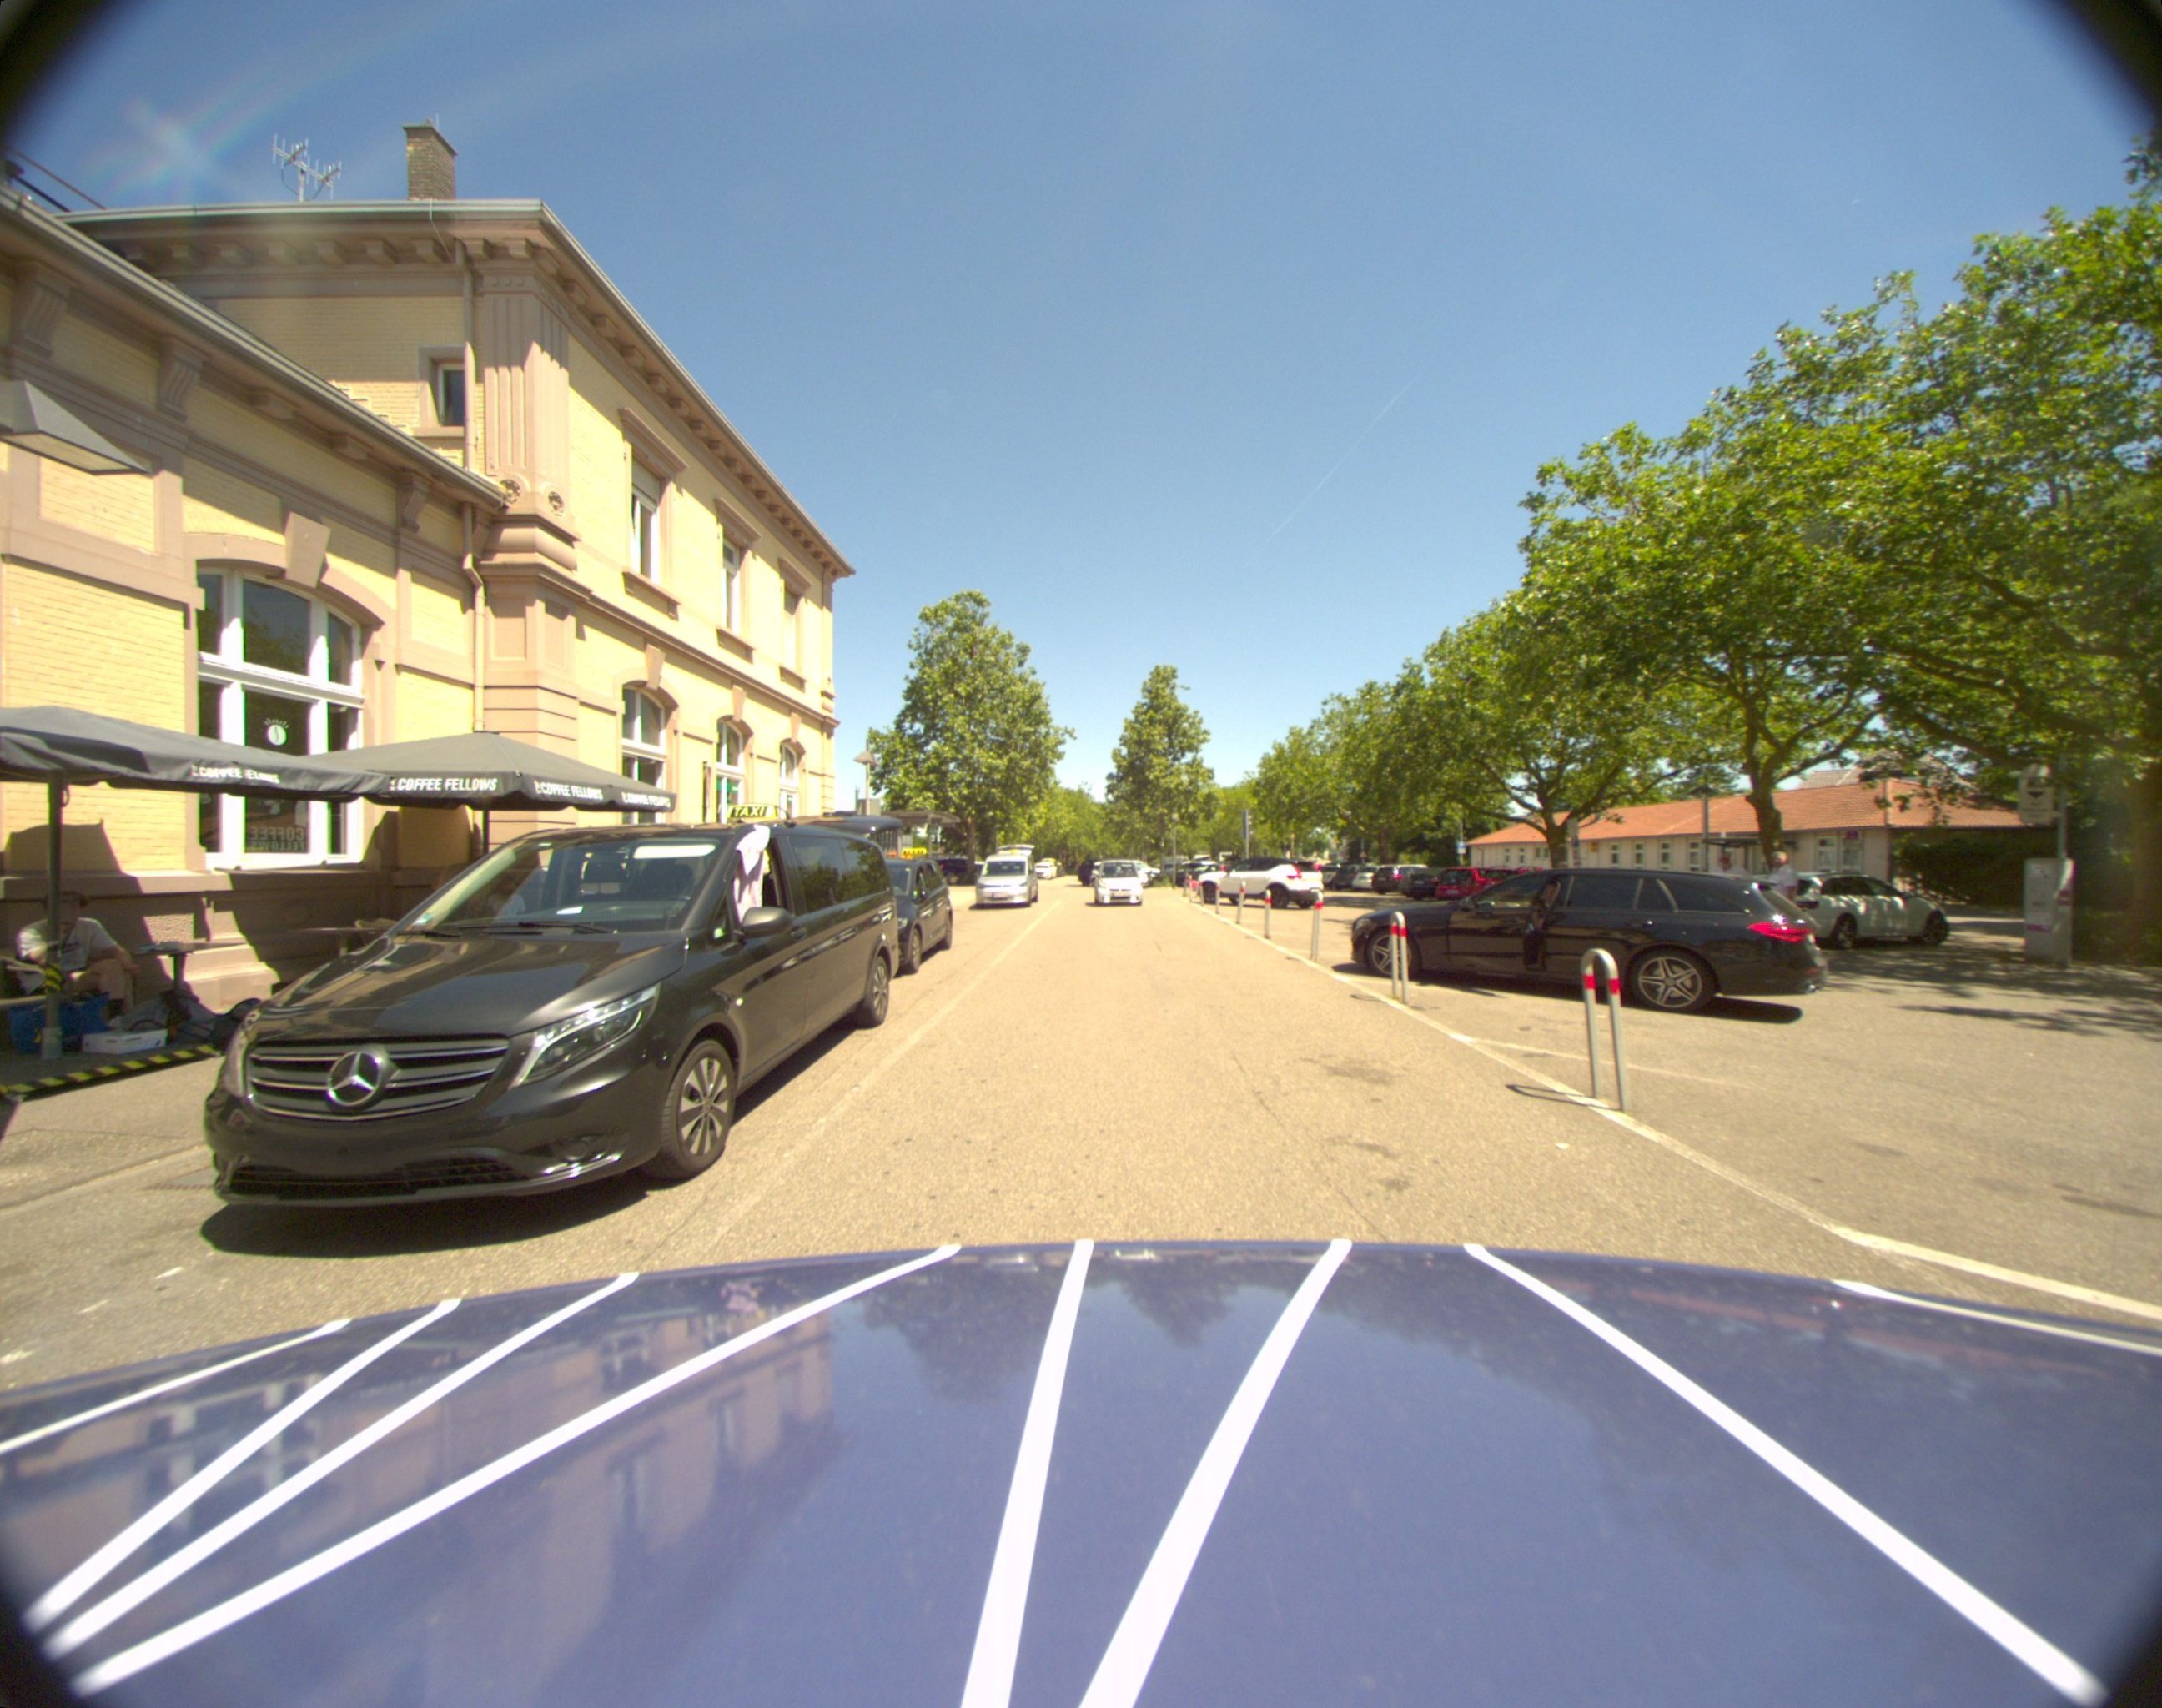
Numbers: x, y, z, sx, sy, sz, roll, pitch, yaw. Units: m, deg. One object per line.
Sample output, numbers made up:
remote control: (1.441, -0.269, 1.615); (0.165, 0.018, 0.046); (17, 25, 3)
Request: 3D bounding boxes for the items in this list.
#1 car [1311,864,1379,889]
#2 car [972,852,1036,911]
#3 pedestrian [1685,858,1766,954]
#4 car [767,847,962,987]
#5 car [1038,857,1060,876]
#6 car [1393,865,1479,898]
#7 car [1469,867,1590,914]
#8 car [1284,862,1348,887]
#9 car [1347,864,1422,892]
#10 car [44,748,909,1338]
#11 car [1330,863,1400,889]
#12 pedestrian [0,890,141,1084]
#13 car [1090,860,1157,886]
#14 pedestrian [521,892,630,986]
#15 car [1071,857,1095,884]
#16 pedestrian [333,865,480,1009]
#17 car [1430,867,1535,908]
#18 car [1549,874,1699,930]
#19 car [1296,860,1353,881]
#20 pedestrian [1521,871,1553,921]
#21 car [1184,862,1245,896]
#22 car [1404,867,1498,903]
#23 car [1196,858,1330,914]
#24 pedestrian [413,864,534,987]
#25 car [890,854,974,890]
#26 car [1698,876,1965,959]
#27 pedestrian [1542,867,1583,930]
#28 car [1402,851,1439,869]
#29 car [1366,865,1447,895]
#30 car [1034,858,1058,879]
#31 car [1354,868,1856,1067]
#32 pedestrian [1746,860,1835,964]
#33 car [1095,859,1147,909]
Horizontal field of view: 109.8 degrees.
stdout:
car: (16.066, 1.330, 46.233); (3.882, 1.451, 1.633); (0, 0, -27)
car: (-2.631, 0.876, 26.982); (2.003, 1.829, 5.316); (-2, 0, -4)
pedestrian: (12.229, 0.951, 14.438); (0.839, 1.760, 0.850); (0, 0, -17)
car: (-3.266, 0.879, 12.564); (2.080, 1.829, 4.839); (-1, -1, -4)
car: (-3.300, 1.217, 77.784); (2.050, 1.829, 4.963); (-2, 0, -4)
car: (16.753, 1.269, 35.849); (3.882, 1.451, 1.633); (0, 0, -27)
car: (15.095, 1.178, 25.556); (3.882, 1.451, 1.633); (0, 0, -27)
car: (15.141, 1.281, 49.008); (3.882, 1.565, 1.633); (0, 0, -27)
car: (16.621, 1.274, 41.595); (3.882, 1.451, 1.633); (0, 0, -27)
car: (-2.852, 0.714, 5.708); (2.093, 2.111, 5.824); (-1, -1, -4)
car: (16.428, 1.255, 43.930); (3.882, 1.451, 1.633); (0, 0, -27)
pedestrian: (-8.385, 0.997, 5.981); (0.881, 1.363, 0.851); (2, 0, -3)
car: (2.408, 1.067, 43.484); (3.503, 1.395, 1.808); (0, 0, 42)
pedestrian: (-6.841, 1.127, 10.326); (0.851, 1.157, 0.882); (2, 0, 1)
car: (0.110, 1.040, 48.570); (1.456, 1.660, 3.106); (0, 0, 0)
pedestrian: (-7.606, 0.904, 8.616); (0.881, 1.534, 0.851); (2, 0, -3)
car: (15.540, 1.244, 29.379); (3.882, 1.451, 1.633); (0, 0, -27)
car: (15.549, 1.304, 21.740); (4.033, 1.397, 1.874); (0, 0, -28)
car: (17.605, 1.184, 54.895); (3.882, 1.439, 1.633); (0, 0, -27)
pedestrian: (13.300, 1.205, 22.170); (0.689, 1.416, 0.802); (0, 0, 22)
car: (7.916, 1.461, 45.321); (1.741, 1.882, 3.992); (0, 0, -22)
car: (16.018, 1.295, 32.839); (3.882, 1.451, 1.633); (0, 0, -27)
car: (6.021, 1.002, 25.460); (1.804, 1.596, 4.051); (-2, 3, -44)
pedestrian: (-7.993, 0.912, 10.042); (0.881, 1.534, 0.851); (2, 0, -3)
car: (-9.621, 1.139, 49.348); (4.961, 2.108, 2.051); (-2, 0, 0)
car: (14.996, 1.188, 15.209); (4.782, 1.408, 1.784); (0, 0, -18)
pedestrian: (11.954, 1.096, 18.867); (0.589, 1.539, 0.610); (1, 0, -3)
car: (29.810, 0.519, 66.751); (1.635, 1.565, 3.877); (0, 0, 2)
car: (16.545, 1.292, 38.581); (3.882, 1.451, 1.633); (0, 0, -27)
car: (-3.309, 1.292, 71.123); (2.050, 1.829, 4.963); (-2, 0, -4)
car: (5.765, 1.030, 8.853); (1.804, 1.534, 4.516); (-2, 3, -45)
pedestrian: (12.547, 0.997, 13.451); (0.839, 1.760, 0.850); (0, 0, -19)
car: (1.306, 0.958, 25.693); (1.601, 1.584, 3.106); (0, 0, 0)
